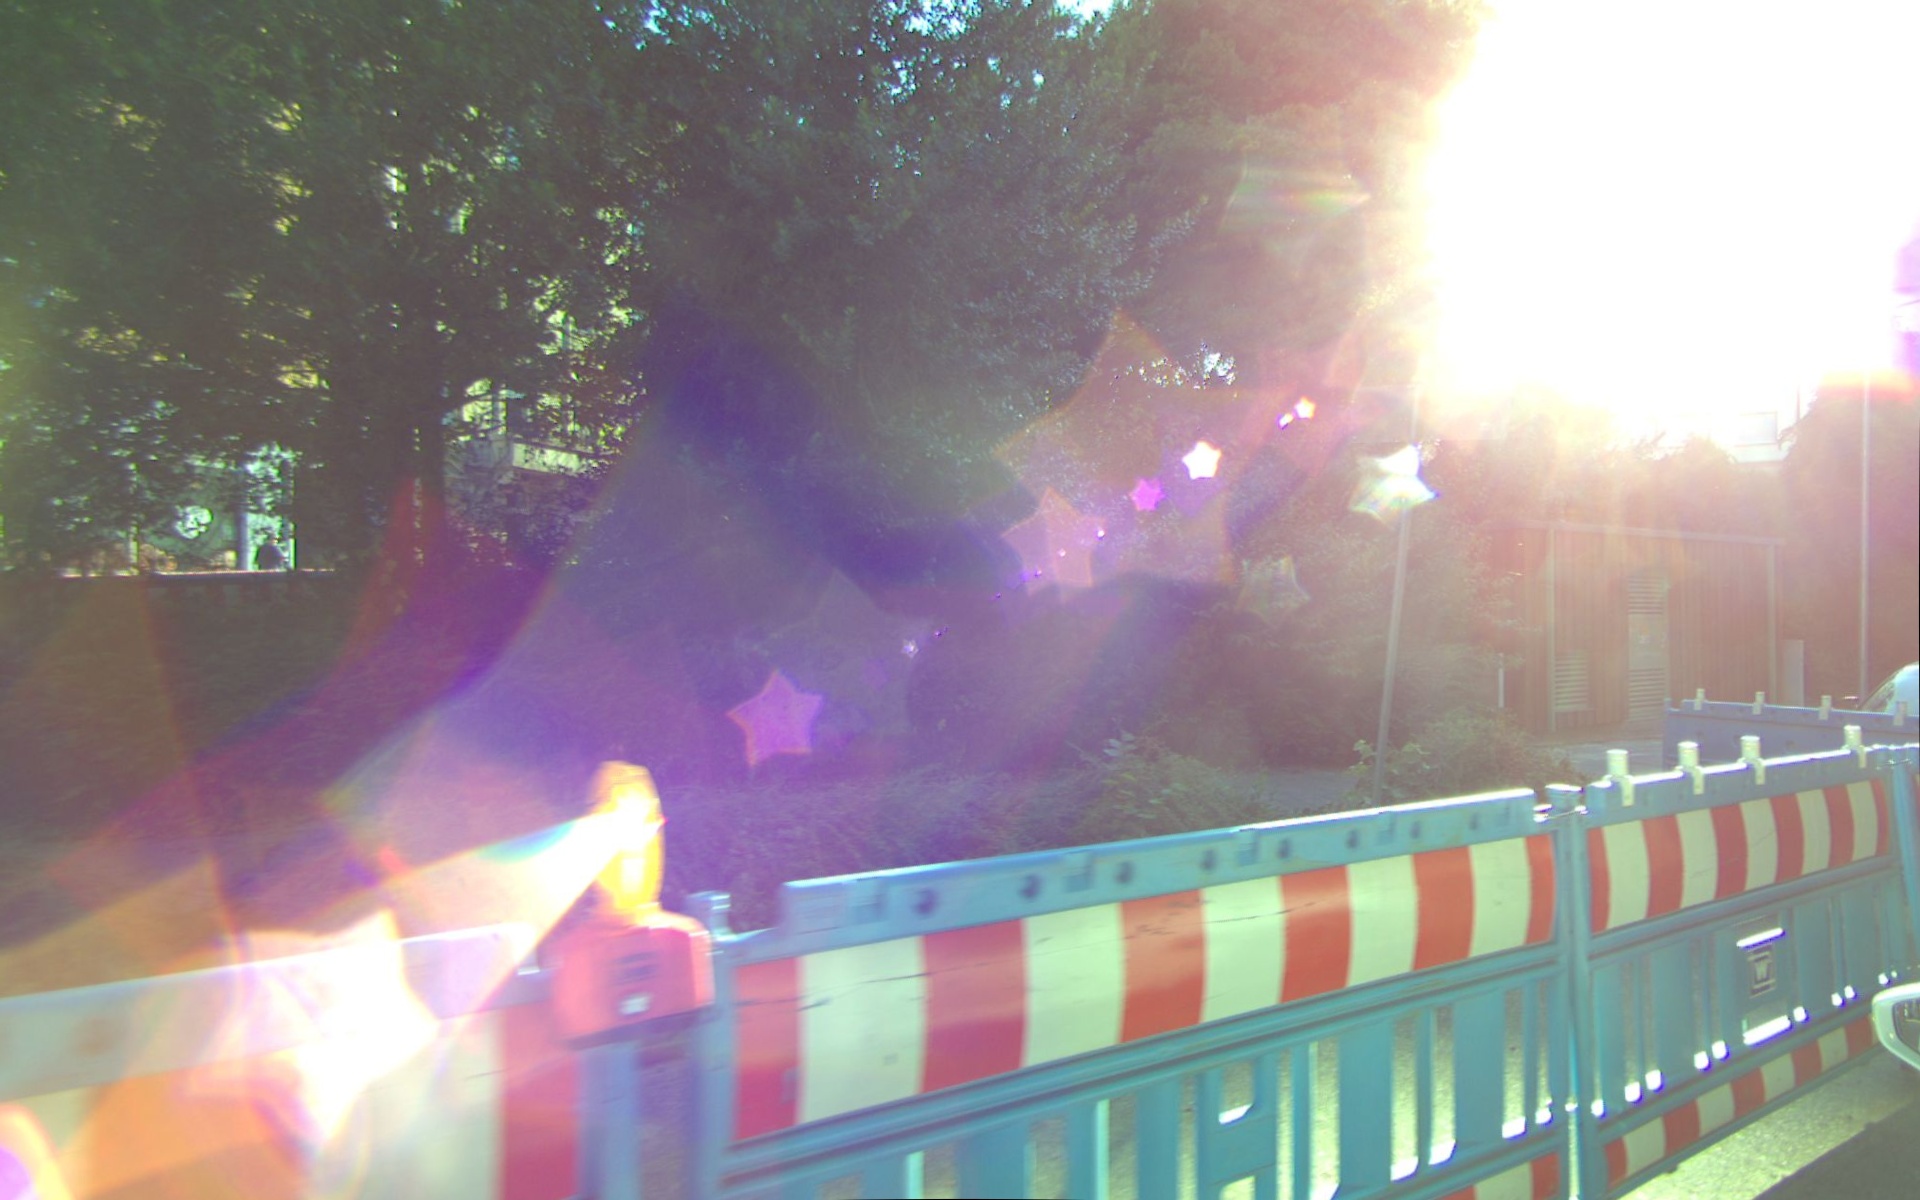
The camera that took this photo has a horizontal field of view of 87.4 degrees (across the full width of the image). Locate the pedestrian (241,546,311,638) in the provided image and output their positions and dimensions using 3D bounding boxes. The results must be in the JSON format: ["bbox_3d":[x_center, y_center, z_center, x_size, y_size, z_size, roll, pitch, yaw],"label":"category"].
[{"bbox_3d":[-15.549,-0.171,22.837,0.925,2.040,0.958,-1,0,26],"label":"pedestrian"}]

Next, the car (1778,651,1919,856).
[{"bbox_3d":[8.504,1.154,8.123,4.061,1.436,1.706,2,-3,-32],"label":"car"}]
